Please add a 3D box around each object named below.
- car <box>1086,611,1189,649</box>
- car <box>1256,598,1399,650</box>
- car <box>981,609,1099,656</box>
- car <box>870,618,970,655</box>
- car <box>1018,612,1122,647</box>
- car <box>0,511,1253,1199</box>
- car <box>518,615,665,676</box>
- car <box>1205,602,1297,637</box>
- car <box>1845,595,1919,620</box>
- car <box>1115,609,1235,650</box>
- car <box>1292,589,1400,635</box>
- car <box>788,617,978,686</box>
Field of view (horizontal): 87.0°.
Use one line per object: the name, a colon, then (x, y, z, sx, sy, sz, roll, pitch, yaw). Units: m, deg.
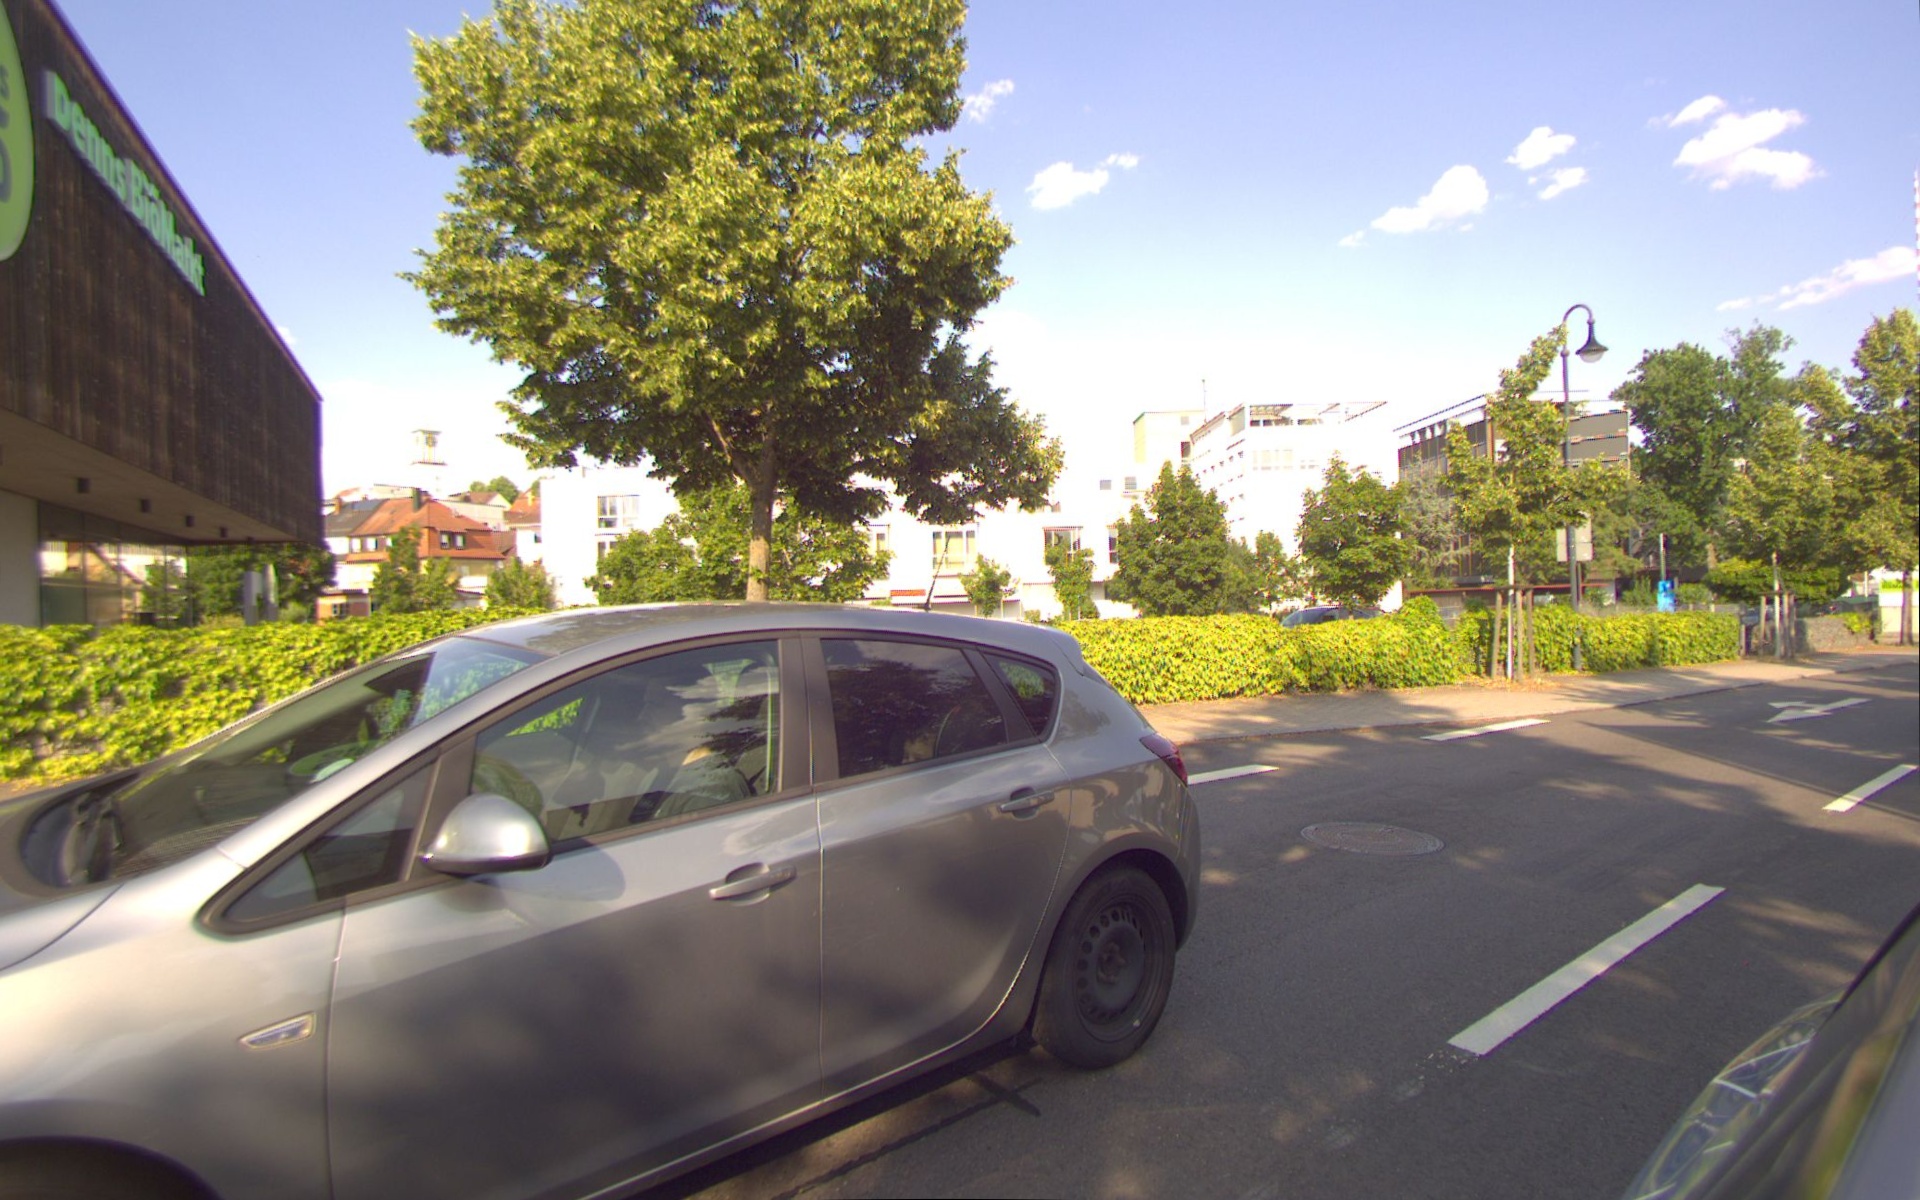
car: (7.471, 1.233, 42.589, 3.874, 1.462, 2.001, -1, -1, -31)
car: (12.113, 0.775, 33.325, 4.458, 1.552, 2.001, -1, -3, -31)
car: (3.156, 1.278, 40.011, 4.226, 1.746, 1.897, 0, -3, -25)
car: (-1.951, 1.738, 49.078, 4.452, 1.669, 2.004, -1, -1, -20)
car: (5.053, 1.327, 46.244, 4.458, 1.462, 1.880, -1, -1, -31)
car: (-1.127, 0.623, 2.846, 4.230, 1.509, 1.724, 0, 0, -40)
car: (-11.027, 1.317, 30.296, 3.918, 1.649, 2.002, -1, -1, -27)
car: (14.906, 0.964, 51.786, 4.457, 1.669, 2.002, -1, -1, -30)
car: (54.768, 0.447, 59.226, 1.898, 1.438, 4.006, -1, -1, -25)
car: (8.524, 1.123, 40.084, 4.458, 1.462, 2.001, -1, -1, -31)
car: (16.971, 0.507, 44.457, 4.554, 1.878, 2.002, -1, -1, -30)
car: (-1.973, 1.262, 26.121, 4.458, 1.559, 2.001, -1, -1, -31)
